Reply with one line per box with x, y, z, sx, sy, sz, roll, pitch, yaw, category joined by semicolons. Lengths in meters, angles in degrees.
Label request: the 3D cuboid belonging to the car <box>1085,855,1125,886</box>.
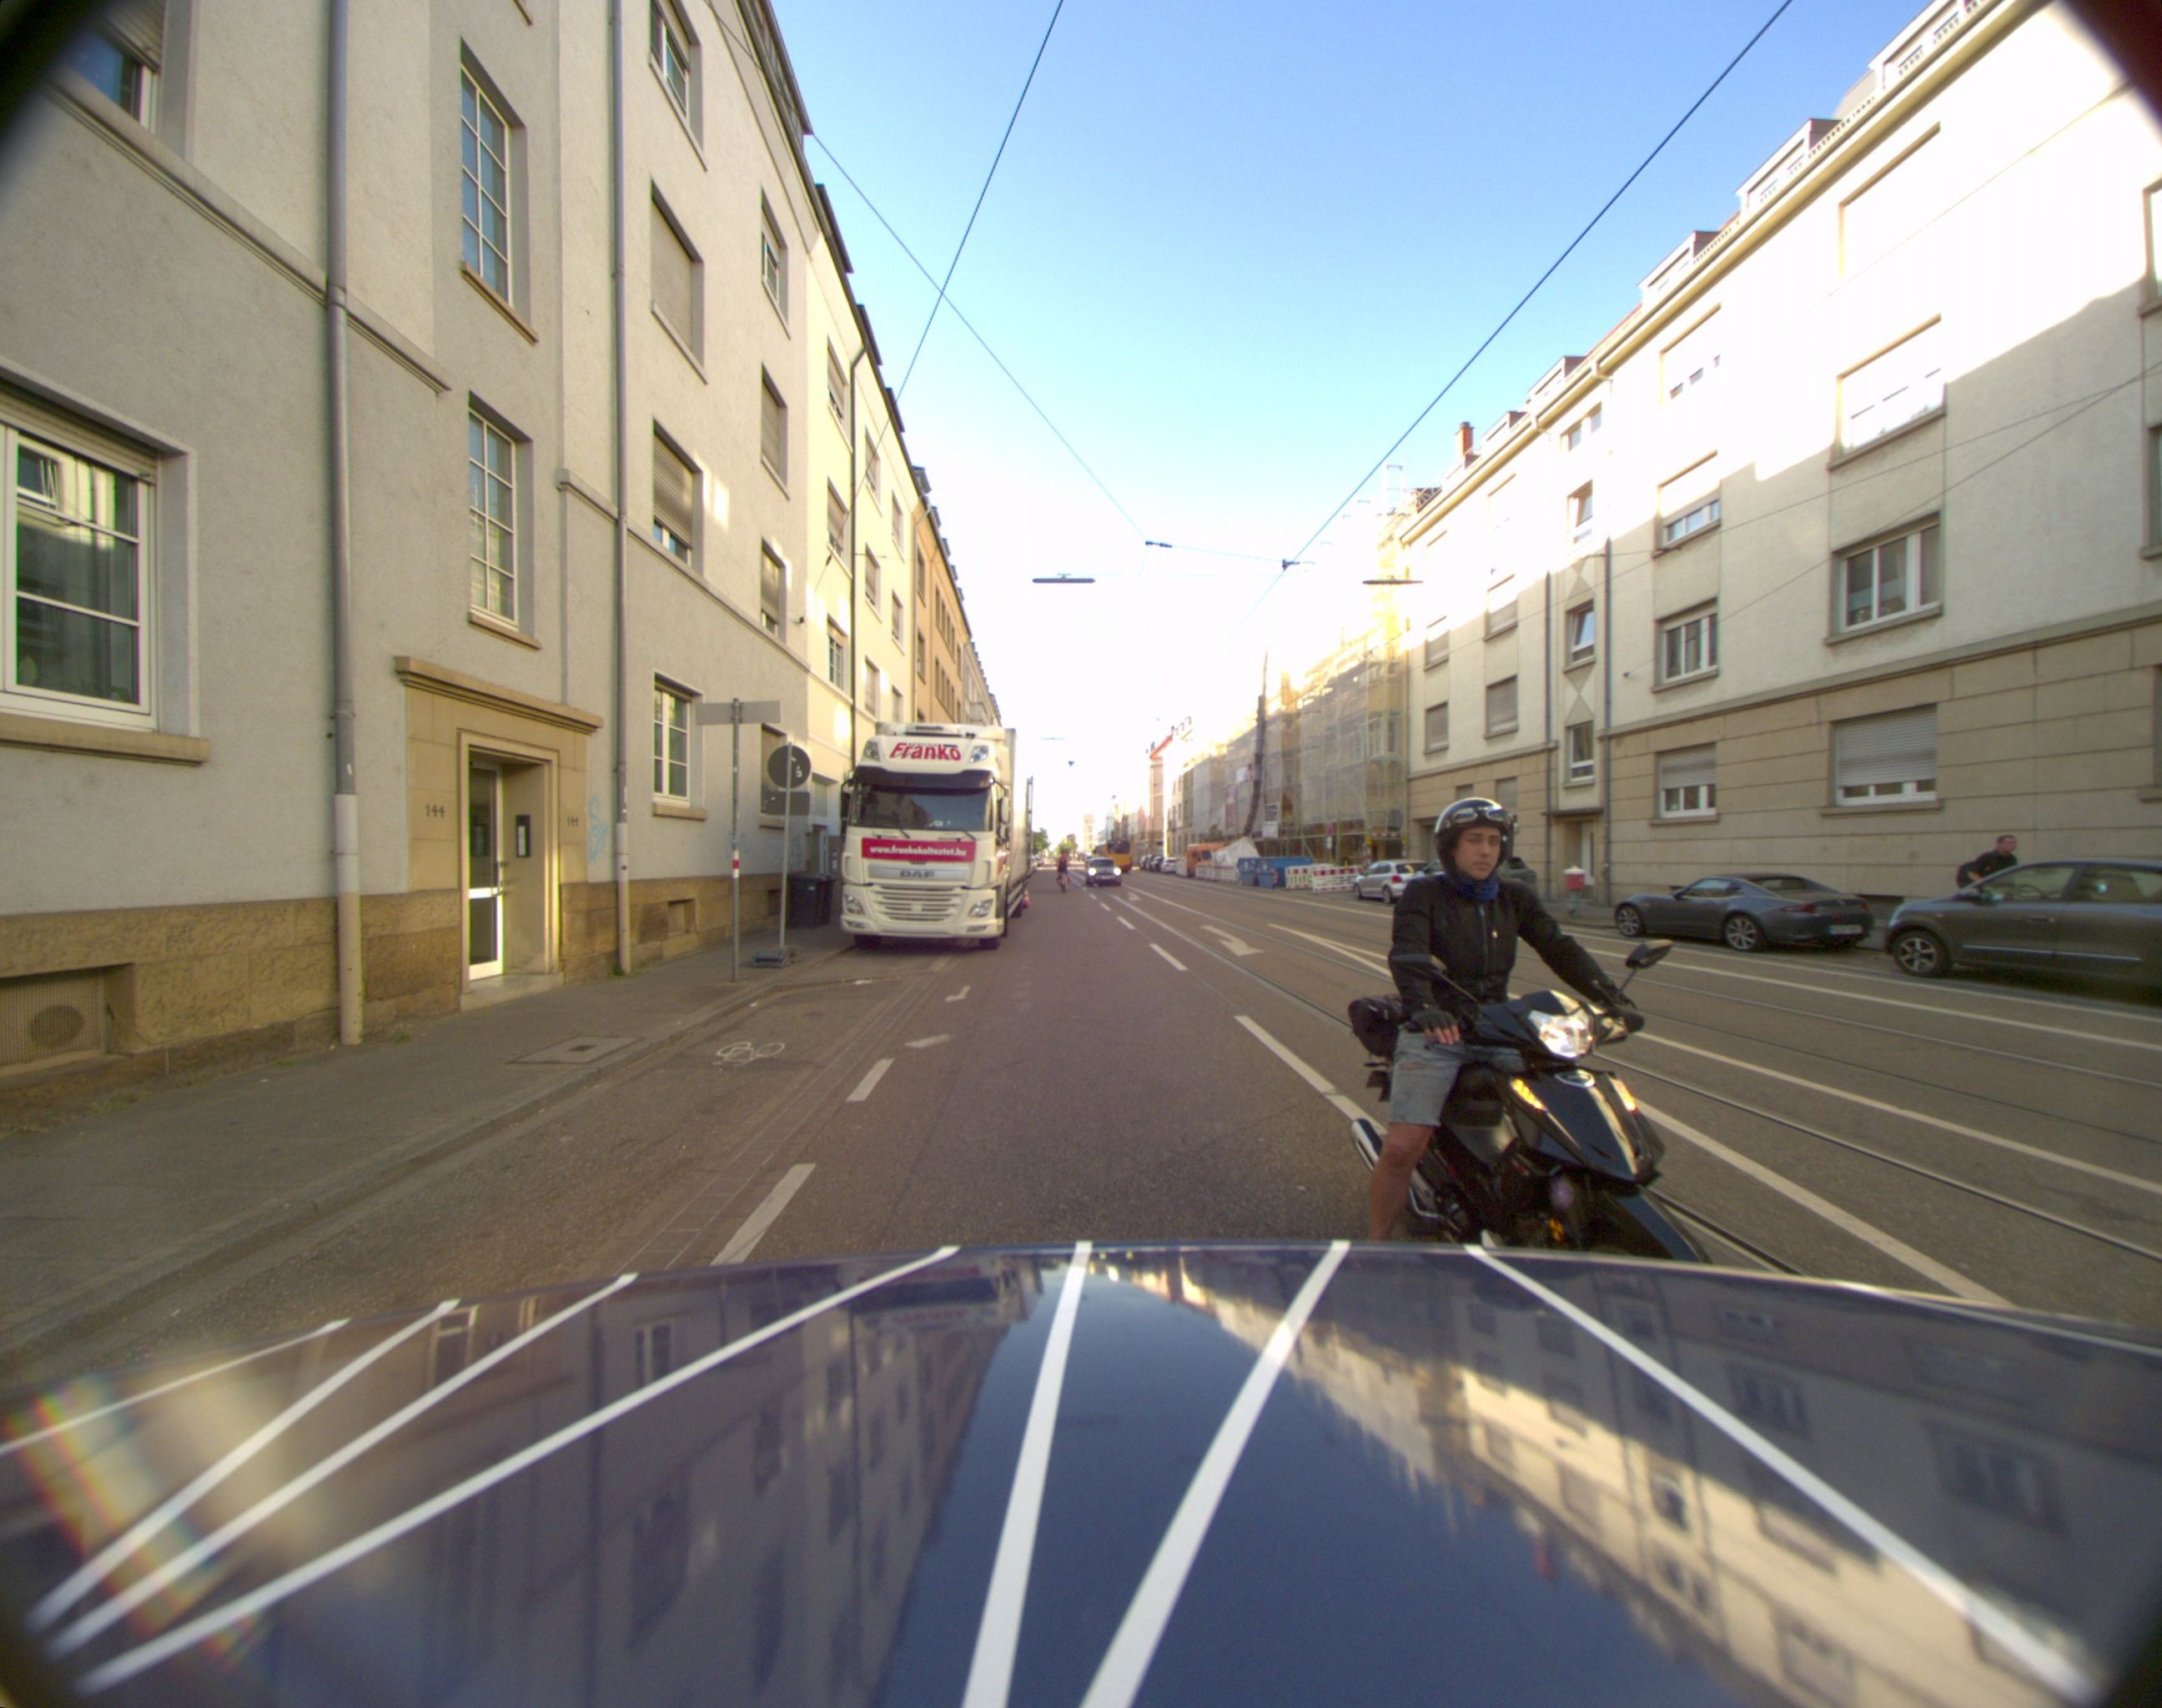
1.202;0.817;39.667;1.685;1.454;4.148;-2;0;-3;car

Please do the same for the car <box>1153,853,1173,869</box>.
8.276;0.696;76.803;1.684;1.478;3.966;-2;0;1;car

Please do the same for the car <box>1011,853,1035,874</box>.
-4.503;0.739;59.152;1.685;1.522;4.148;-2;0;-3;car

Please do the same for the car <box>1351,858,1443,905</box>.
10.615;0.875;25.772;1.543;1.404;3.510;-1;0;-3;car

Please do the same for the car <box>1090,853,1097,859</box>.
3.330;0.573;206.883;1.684;1.478;3.965;-2;0;-1;car

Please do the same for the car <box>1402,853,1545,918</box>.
10.816;0.799;21.324;1.696;1.590;4.206;-1;0;-3;car

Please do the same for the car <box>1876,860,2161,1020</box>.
11.420;0.854;8.312;1.679;1.519;3.539;-1;0;-3;car

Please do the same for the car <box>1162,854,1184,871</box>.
8.580;0.751;71.106;1.684;1.478;3.966;-2;0;1;car

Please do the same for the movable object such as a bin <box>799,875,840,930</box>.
-5.396;0.994;15.703;0.666;1.087;0.570;0;1;-2;movable object such as a bin

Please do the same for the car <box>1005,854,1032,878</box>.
-4.295;0.822;52.984;1.685;1.522;4.148;-2;0;-3;car

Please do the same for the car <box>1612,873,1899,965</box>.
11.184;0.994;12.974;1.520;1.227;3.685;-1;0;-3;car

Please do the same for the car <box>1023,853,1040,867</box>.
-5.341;0.640;82.738;1.685;1.522;4.148;-2;0;-3;car

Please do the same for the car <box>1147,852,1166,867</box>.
8.255;0.607;83.176;1.684;1.573;3.966;-2;0;1;car

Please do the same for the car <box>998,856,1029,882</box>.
-4.169;0.890;47.181;1.685;1.522;4.148;-2;0;-3;car

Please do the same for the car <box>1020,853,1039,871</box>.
-4.847;0.741;72.092;1.685;1.522;4.148;-2;0;-3;car

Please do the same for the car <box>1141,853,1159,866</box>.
7.944;0.644;87.873;1.684;1.478;3.966;-2;0;1;car

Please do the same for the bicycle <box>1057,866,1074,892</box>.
-0.694;1.069;33.145;0.618;1.097;1.885;0;0;-4;bicycle

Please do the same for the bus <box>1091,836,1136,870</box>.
3.134;-0.088;79.429;2.755;3.095;19.156;0;0;-3;bus

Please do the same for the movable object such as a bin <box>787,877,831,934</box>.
-5.379;1.002;15.034;0.666;1.087;0.570;0;1;-2;movable object such as a bin

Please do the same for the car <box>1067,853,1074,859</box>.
-3.590;0.707;257.324;1.999;1.838;3.998;0;0;-4;car

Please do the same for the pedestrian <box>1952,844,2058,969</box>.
13.028;0.715;10.733;0.605;1.699;0.730;0;1;-2;pedestrian

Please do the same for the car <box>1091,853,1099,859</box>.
3.554;0.594;191.740;1.684;1.478;3.965;-2;0;-1;car

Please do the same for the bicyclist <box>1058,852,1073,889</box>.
-0.695;0.714;33.158;0.618;1.620;0.759;0;1;-4;bicyclist

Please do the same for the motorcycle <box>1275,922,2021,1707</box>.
1.312;0.969;2.513;0.791;1.284;2.273;0;0;1;motorcycle

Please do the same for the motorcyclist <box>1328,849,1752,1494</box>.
1.312;0.812;2.384;0.791;1.645;0.900;0;1;1;motorcyclist

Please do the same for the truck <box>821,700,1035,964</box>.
-2.622;-0.326;17.174;2.782;3.903;11.816;0;0;-2;truck
